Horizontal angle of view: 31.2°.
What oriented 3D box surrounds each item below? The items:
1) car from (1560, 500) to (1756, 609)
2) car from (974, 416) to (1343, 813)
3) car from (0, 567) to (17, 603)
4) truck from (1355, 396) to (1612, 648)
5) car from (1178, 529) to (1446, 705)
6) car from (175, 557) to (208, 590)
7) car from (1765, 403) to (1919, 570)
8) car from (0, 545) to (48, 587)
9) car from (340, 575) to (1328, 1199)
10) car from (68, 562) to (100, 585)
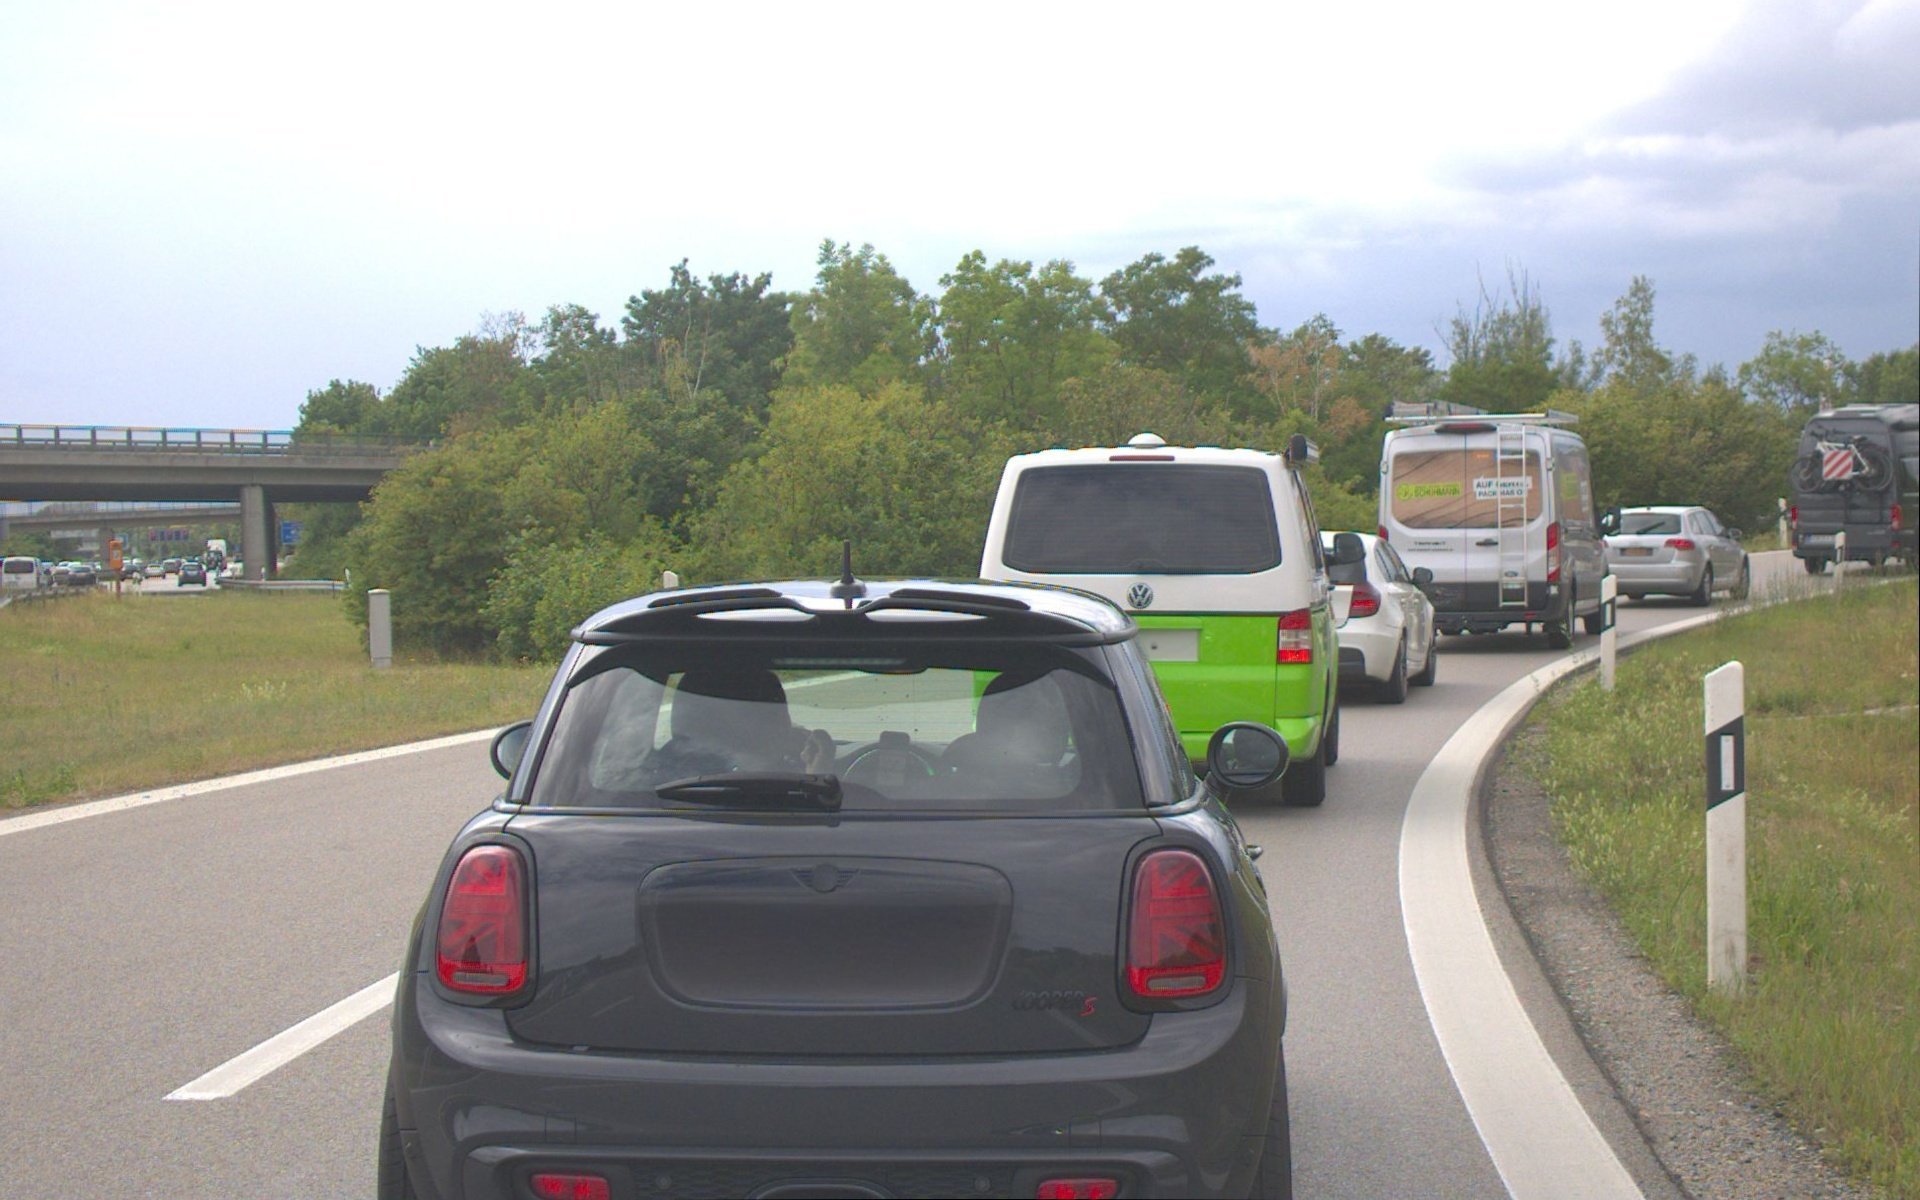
[{"bbox_3d":[10.133,-0.666,49.710,1.869,1.504,3.995,0,1,26],"label":"car"},{"bbox_3d":[1.224,0.037,19.489,1.785,2.007,3.999,0,1,8],"label":"car"},{"bbox_3d":[-49.830,-0.785,177.024,1.993,1.779,5.413,-1,1,-10],"label":"car"},{"bbox_3d":[6.015,-0.894,38.942,2.180,2.649,5.105,0,2,17],"label":"truck"},{"bbox_3d":[3.046,0.108,29.139,1.763,1.394,3.723,0,1,14],"label":"car"},{"bbox_3d":[-48.980,-1.678,219.118,1.993,2.007,4.001,1,0,-12],"label":"car"},{"bbox_3d":[15.598,-1.948,59.620,2.108,2.787,3.993,1,1,30],"label":"car"},{"bbox_3d":[-40.077,-1.445,146.520,1.876,1.745,4.488,-1,1,-10],"label":"car"},{"bbox_3d":[-0.217,0.662,7.885,1.727,1.409,3.725,0,1,0],"label":"car"},{"bbox_3d":[-56.603,-1.697,222.179,1.721,1.419,4.799,-1,1,-11],"label":"car"}]
